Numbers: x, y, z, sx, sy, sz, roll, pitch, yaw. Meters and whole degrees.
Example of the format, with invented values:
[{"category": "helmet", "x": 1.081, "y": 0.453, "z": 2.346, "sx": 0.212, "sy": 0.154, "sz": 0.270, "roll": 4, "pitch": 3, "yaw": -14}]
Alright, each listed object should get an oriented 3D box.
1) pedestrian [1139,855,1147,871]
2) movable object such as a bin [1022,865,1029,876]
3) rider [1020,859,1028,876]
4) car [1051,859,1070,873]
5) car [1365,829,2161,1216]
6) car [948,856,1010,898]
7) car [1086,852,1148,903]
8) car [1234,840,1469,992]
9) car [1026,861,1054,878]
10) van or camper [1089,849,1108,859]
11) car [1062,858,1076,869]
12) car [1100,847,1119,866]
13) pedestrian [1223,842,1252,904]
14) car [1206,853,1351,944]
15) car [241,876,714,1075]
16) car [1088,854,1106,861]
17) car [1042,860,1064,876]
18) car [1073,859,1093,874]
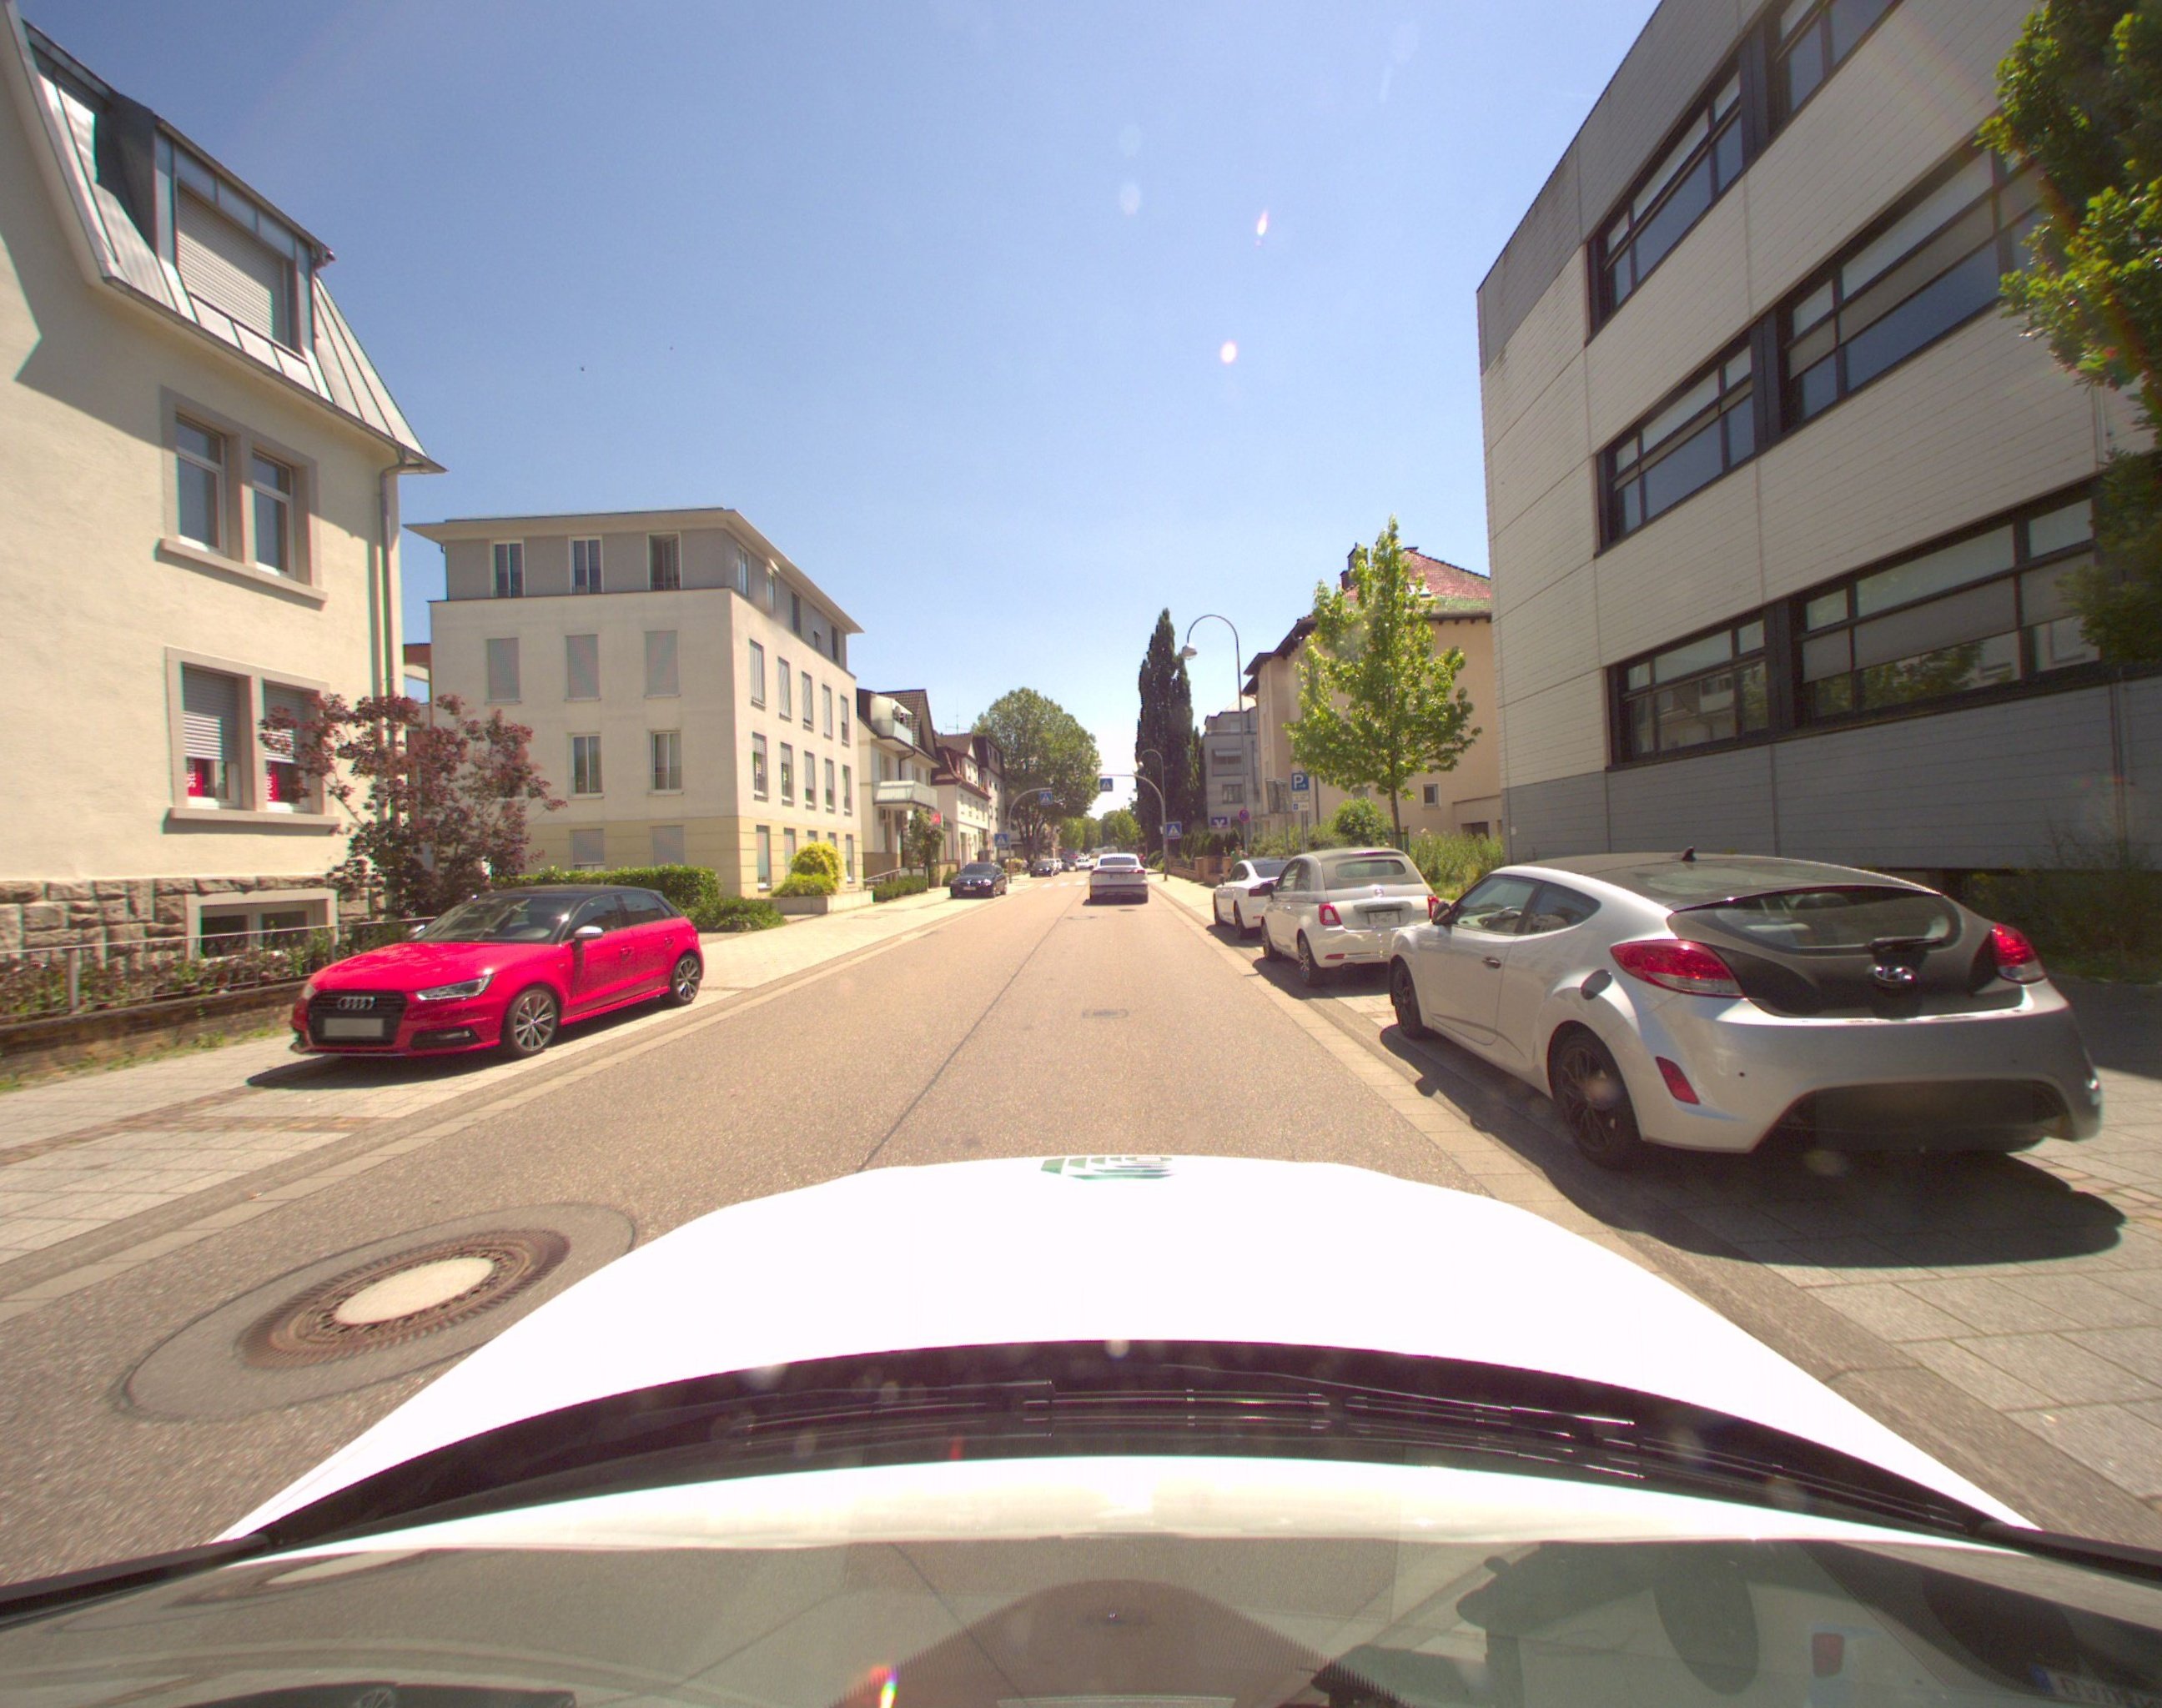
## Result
[{"category": "pedestrian", "x": 7.124, "y": 1.043, "z": 93.541, "sx": 0.692, "sy": 1.736, "sz": 0.667, "roll": -2, "pitch": -1, "yaw": -3}, {"category": "movable object such as a bin", "x": -5.279, "y": 1.563, "z": 77.777, "sx": 0.585, "sy": 0.952, "sz": 0.567, "roll": -2, "pitch": -1, "yaw": 1}, {"category": "rider", "x": -5.393, "y": 1.243, "z": 77.165, "sx": 0.659, "sy": 1.553, "sz": 0.661, "roll": -2, "pitch": -1, "yaw": 1}, {"category": "car", "x": -2.312, "y": 1.348, "z": 92.667, "sx": 1.986, "sy": 1.520, "sz": 4.001, "roll": -2, "pitch": 0, "yaw": 1}, {"category": "car", "x": 3.288, "y": 0.658, "z": 5.028, "sx": 1.854, "sy": 1.373, "sz": 4.004, "roll": -3, "pitch": -1, "yaw": 4}, {"category": "car", "x": -4.371, "y": 0.968, "z": 35.547, "sx": 1.918, "sy": 1.720, "sz": 4.474, "roll": 0, "pitch": 0, "yaw": 2}, {"category": "car", "x": 1.241, "y": 0.762, "z": 27.996, "sx": 1.928, "sy": 1.614, "sz": 4.474, "roll": 0, "pitch": 0, "yaw": 2}, {"category": "car", "x": 3.250, "y": 0.669, "z": 10.721, "sx": 1.652, "sy": 1.488, "sz": 4.347, "roll": -4, "pitch": -1, "yaw": 1}, {"category": "car", "x": -3.452, "y": 1.304, "z": 69.013, "sx": 1.986, "sy": 1.349, "sz": 4.001, "roll": -2, "pitch": 0, "yaw": 1}, {"category": "van or camper", "x": 4.853, "y": 0.018, "z": 224.007, "sx": 5.177, "sy": 2.513, "sz": 2.267, "roll": -2, "pitch": -1, "yaw": -2}, {"category": "car", "x": -1.911, "y": 1.463, "z": 127.678, "sx": 1.986, "sy": 1.520, "sz": 4.001, "roll": -2, "pitch": 0, "yaw": 1}, {"category": "car", "x": 3.384, "y": 0.300, "z": 97.667, "sx": 2.063, "sy": 2.197, "sz": 5.138, "roll": -2, "pitch": -1, "yaw": 0}, {"category": "pedestrian", "x": 4.547, "y": 0.549, "z": 23.657, "sx": 0.636, "sy": 1.758, "sz": 0.616, "roll": -2, "pitch": -1, "yaw": -3}, {"category": "car", "x": 3.554, "y": 0.741, "z": 15.466, "sx": 1.720, "sy": 1.383, "sz": 4.403, "roll": -4, "pitch": -1, "yaw": 1}, {"category": "car", "x": -5.496, "y": 0.974, "z": 8.170, "sx": 1.642, "sy": 1.419, "sz": 3.909, "roll": 0, "pitch": 0, "yaw": 3}, {"category": "car", "x": 3.907, "y": 0.854, "z": 193.604, "sx": 3.964, "sy": 1.651, "sz": 2.005, "roll": -2, "pitch": -1, "yaw": 9}, {"category": "car", "x": -2.936, "y": 1.487, "z": 86.487, "sx": 1.986, "sy": 1.520, "sz": 4.001, "roll": -2, "pitch": 0, "yaw": 1}, {"category": "car", "x": 0.244, "y": 1.308, "z": 88.683, "sx": 1.972, "sy": 1.520, "sz": 4.001, "roll": -2, "pitch": 0, "yaw": 1}]
